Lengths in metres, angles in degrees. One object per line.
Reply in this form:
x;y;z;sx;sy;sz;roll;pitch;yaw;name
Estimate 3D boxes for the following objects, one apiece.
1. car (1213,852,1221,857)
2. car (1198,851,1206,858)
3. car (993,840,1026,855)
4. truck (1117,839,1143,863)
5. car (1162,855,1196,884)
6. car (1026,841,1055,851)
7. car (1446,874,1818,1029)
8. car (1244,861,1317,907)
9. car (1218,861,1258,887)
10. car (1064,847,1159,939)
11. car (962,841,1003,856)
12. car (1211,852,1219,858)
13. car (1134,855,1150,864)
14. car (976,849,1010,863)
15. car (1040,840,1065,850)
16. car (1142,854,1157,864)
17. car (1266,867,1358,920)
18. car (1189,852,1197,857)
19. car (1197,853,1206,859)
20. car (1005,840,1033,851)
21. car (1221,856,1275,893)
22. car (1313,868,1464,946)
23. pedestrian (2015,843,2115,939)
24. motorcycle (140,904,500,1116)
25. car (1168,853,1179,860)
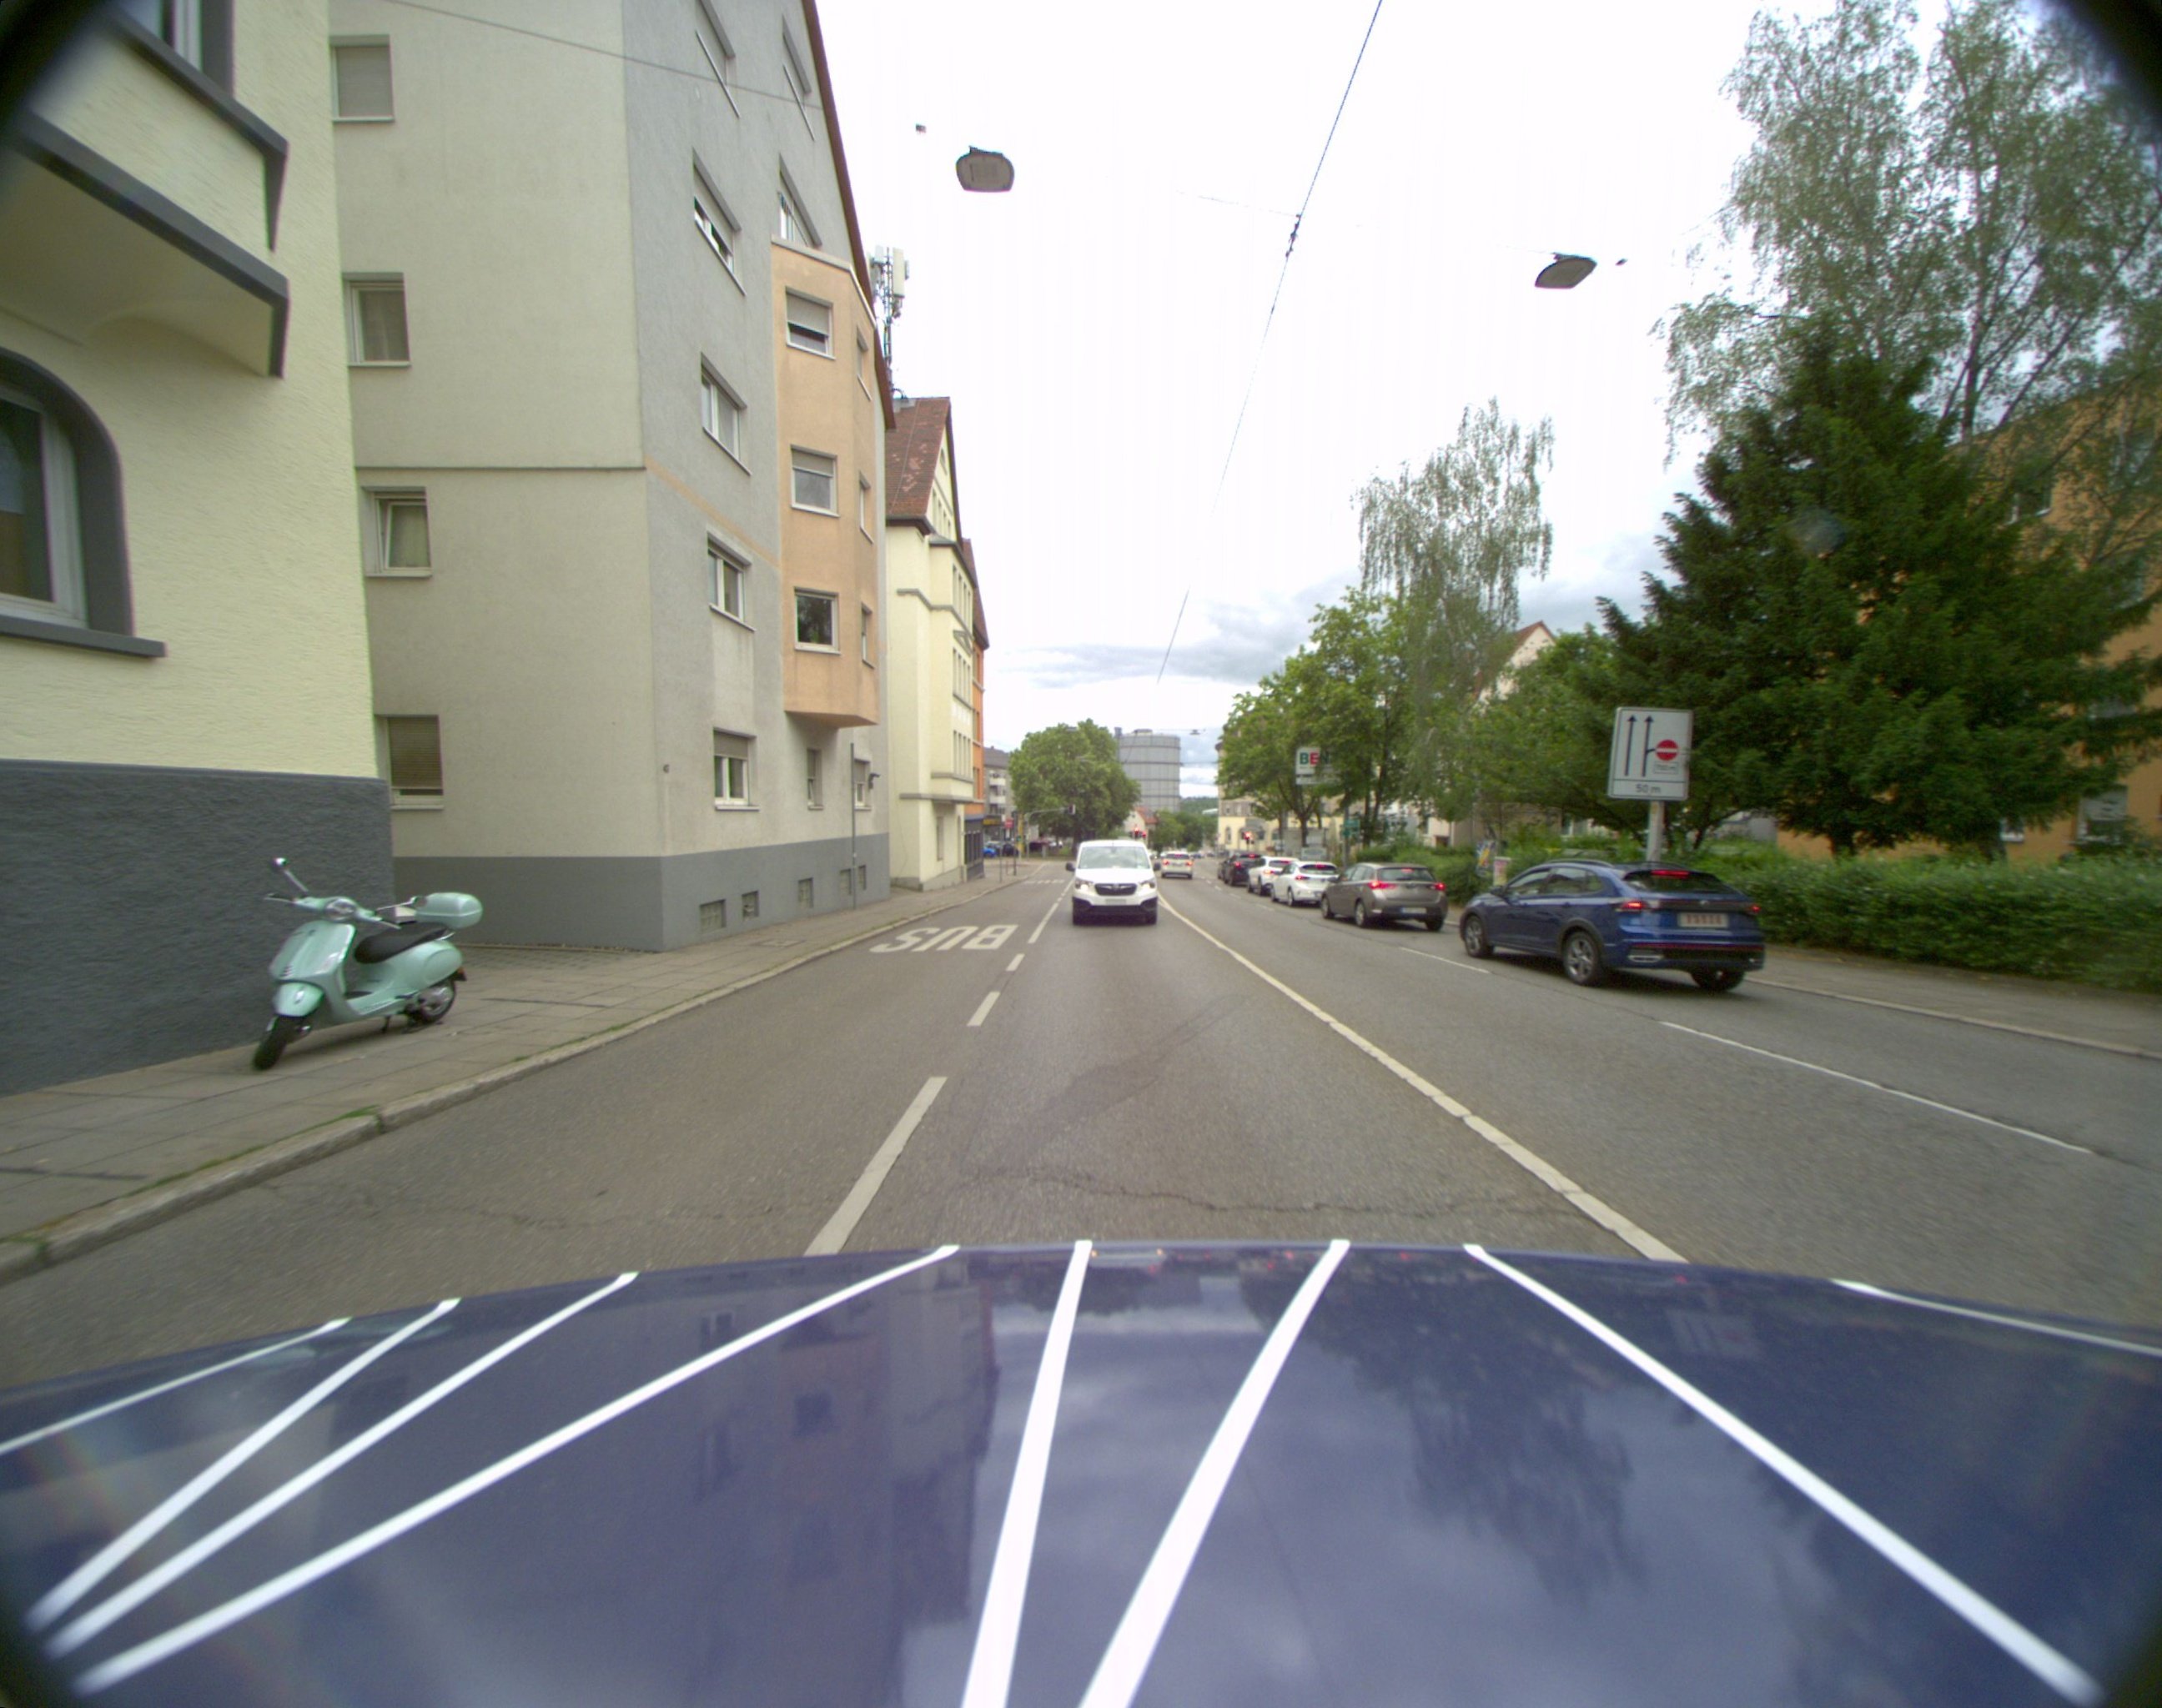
42.312;0.131;236.203;1.996;1.590;4.004;-1;0;13;car
32.897;0.040;206.550;1.868;1.873;4.289;3;1;10;car
-8.989;-0.858;96.090;1.823;1.599;4.179;8;3;34;car
7.640;-0.504;116.907;2.769;3.482;8.177;-1;1;12;truck
5.738;0.852;45.018;1.779;1.538;4.327;3;0;5;car
-6.091;-1.241;113.871;4.007;1.496;1.858;0;2;-36;car
6.789;1.071;10.105;1.843;1.439;4.311;1;0;1;car
8.012;1.157;30.967;1.956;1.584;4.499;3;0;3;car
9.153;1.138;44.638;1.805;1.274;4.238;3;0;6;car
0.690;0.773;17.480;1.888;1.827;4.677;0;0;2;car
-11.164;-0.599;86.087;4.255;1.568;1.830;2;0;2;car
39.771;0.319;225.354;1.996;1.590;4.004;-1;0;13;car
10.056;0.897;125.524;1.916;1.291;4.413;-1;0;13;car
-10.436;0.250;90.465;1.824;1.468;4.009;2;0;35;car
-4.587;-1.480;123.076;3.625;1.496;1.786;0;2;-41;car
12.007;0.817;133.457;1.996;1.620;4.413;-1;1;13;car
7.373;1.204;24.702;1.843;1.404;4.074;2;0;2;car
33.511;0.214;228.234;1.996;1.590;4.004;-1;0;13;car
28.403;0.523;178.691;1.757;1.439;3.755;-1;1;14;car
-8.633;-1.193;105.992;3.616;1.544;1.617;0;2;-27;car
8.288;0.993;38.027;1.955;1.633;4.414;3;0;4;car
6.975;1.132;17.774;1.843;1.439;4.311;1;0;1;car
18.320;0.688;14.170;0.724;1.743;0.794;0;-3;6;pedestrian
-5.557;1.039;5.812;0.539;1.149;2.226;2;0;-2;motorcycle
21.493;0.623;175.901;1.996;1.590;4.004;-1;0;13;car
